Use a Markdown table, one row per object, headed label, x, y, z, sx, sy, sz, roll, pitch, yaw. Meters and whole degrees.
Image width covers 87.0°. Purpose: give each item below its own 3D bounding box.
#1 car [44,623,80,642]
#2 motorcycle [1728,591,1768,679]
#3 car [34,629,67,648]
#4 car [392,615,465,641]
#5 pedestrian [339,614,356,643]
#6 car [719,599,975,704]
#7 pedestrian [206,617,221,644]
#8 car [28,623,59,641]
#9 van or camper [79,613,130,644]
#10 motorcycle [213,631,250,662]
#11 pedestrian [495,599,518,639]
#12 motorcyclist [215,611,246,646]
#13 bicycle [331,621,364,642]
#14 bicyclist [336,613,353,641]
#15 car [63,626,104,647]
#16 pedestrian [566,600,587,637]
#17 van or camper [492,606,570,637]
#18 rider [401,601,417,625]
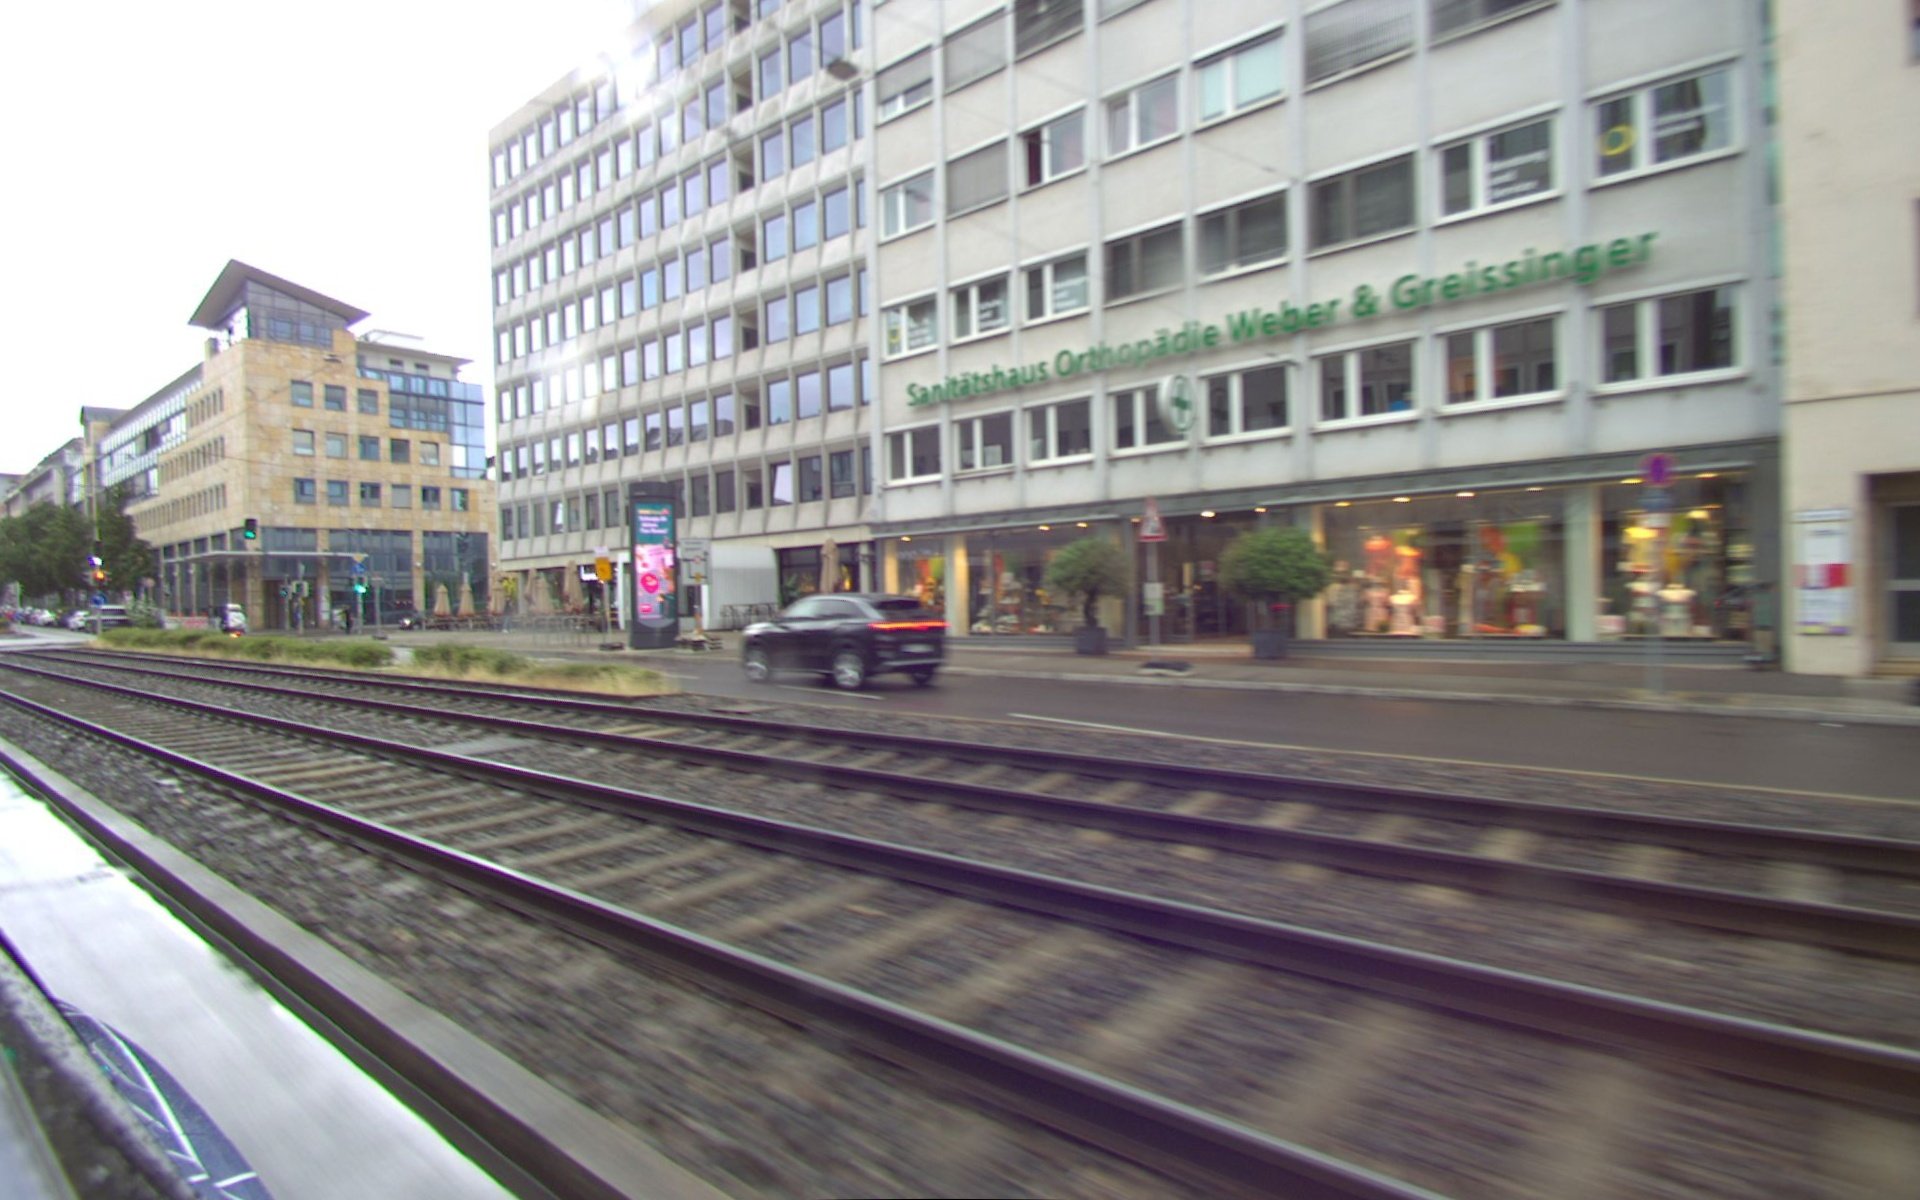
| label | x | y | z | sx | sy | sz | roll | pitch | yaw |
| --- | --- | --- | --- | --- | --- | --- | --- | --- | --- |
| car | -73.923 | 2.680 | 83.284 | 3.996 | 1.497 | 1.672 | -2 | -1 | 40 |
| motorcycle | 11.248 | 0.474 | 14.434 | 0.385 | 1.189 | 1.462 | -2 | 0 | 39 |
| car | -77.719 | 3.290 | 86.466 | 4.191 | 1.509 | 1.632 | -1 | -1 | 42 |
| car | -35.633 | 1.869 | 67.891 | 1.890 | 1.541 | 3.945 | -2 | -1 | 42 |
| pedestrian | -37.927 | 1.763 | 62.672 | 0.667 | 1.794 | 0.705 | -2 | -1 | -14 |
| car | -2.051 | 0.823 | 17.428 | 4.445 | 1.530 | 1.971 | -2 | 0 | 44 |
| pedestrian | -51.554 | 2.097 | 69.874 | 0.679 | 1.828 | 0.693 | -2 | -1 | 43 |
| car | -81.627 | 2.852 | 90.113 | 4.291 | 1.509 | 1.632 | -1 | -1 | 42 |
| van or camper | -60.263 | 1.971 | 71.293 | 5.195 | 2.012 | 1.996 | 0 | 1 | 41 |
| motorcycle | -26.915 | 1.714 | 37.373 | 1.931 | 1.067 | 0.734 | -1 | 0 | 43 |
| pedestrian | -20.760 | 0.867 | 46.324 | 0.843 | 1.836 | 0.559 | -2 | 0 | 37 |
| motorcyclist | -26.910 | 1.046 | 37.345 | 0.970 | 1.226 | 0.733 | -1 | 0 | 43 |
| bicycle | -40.924 | 2.073 | 67.635 | 0.659 | 1.321 | 1.746 | -2 | -1 | 40 |
| bicyclist | -41.061 | 1.819 | 67.506 | 0.783 | 1.818 | 0.701 | -2 | -1 | 41 |
| car | -66.127 | 2.753 | 76.363 | 4.252 | 1.497 | 1.672 | -2 | -1 | 40 |
| pedestrian | -18.494 | 0.876 | 48.822 | 0.843 | 1.762 | 0.559 | -2 | 0 | 37 |
| van or camper | -32.196 | 1.598 | 76.044 | 2.095 | 2.077 | 5.031 | -2 | -1 | 40 |
| rider | -38.549 | 0.919 | 70.768 | 0.783 | 1.688 | 0.701 | -2 | -1 | 41 |
